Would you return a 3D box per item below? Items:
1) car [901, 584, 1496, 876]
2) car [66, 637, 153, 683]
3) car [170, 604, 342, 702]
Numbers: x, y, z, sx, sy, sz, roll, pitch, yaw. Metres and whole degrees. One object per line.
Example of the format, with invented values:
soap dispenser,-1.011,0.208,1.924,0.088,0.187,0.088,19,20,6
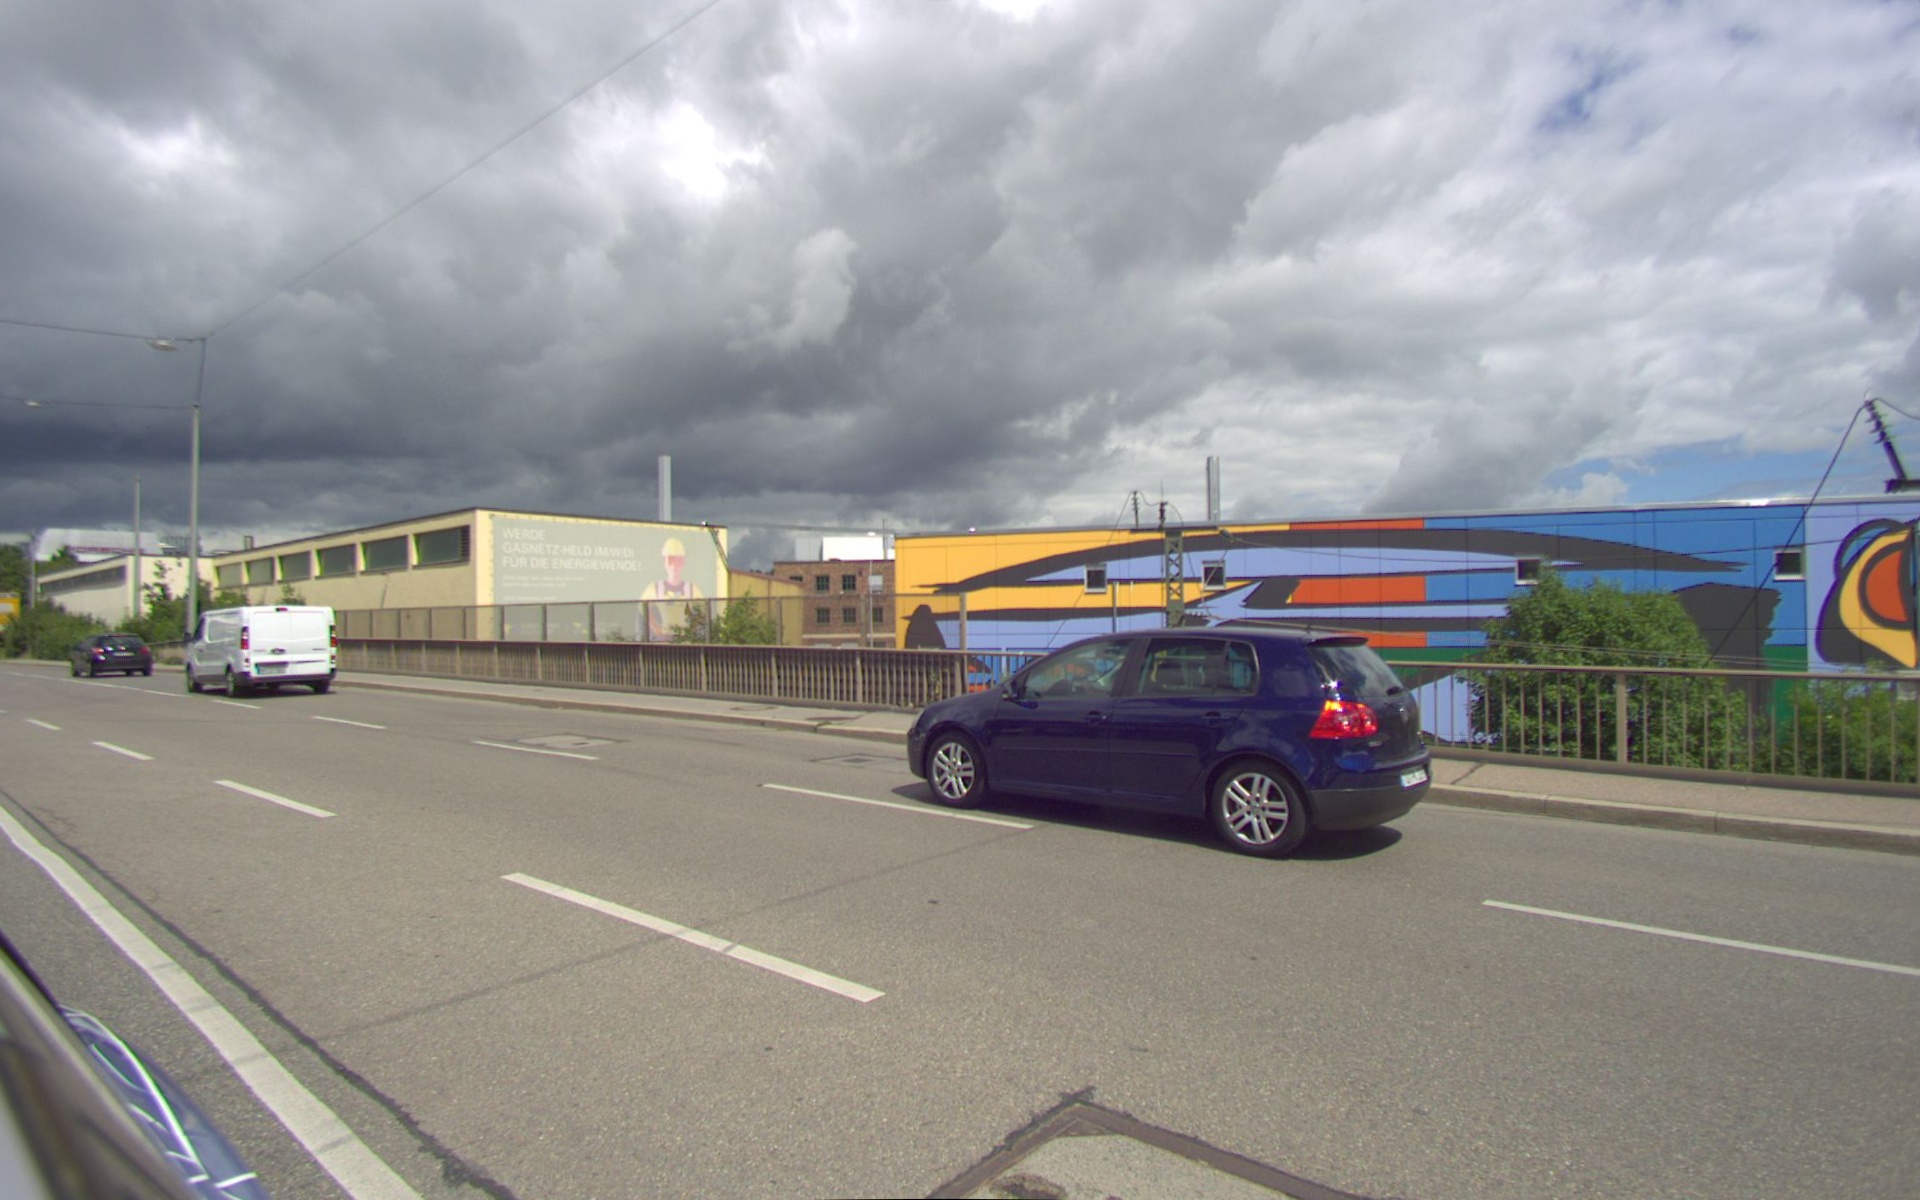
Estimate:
car,1.622,0.785,7.681,3.998,1.630,1.837,-2,-2,41
car,-28.710,1.981,34.130,3.795,1.423,1.592,-2,-2,39
car,-16.415,1.172,23.469,5.645,2.029,1.872,-2,-2,40
